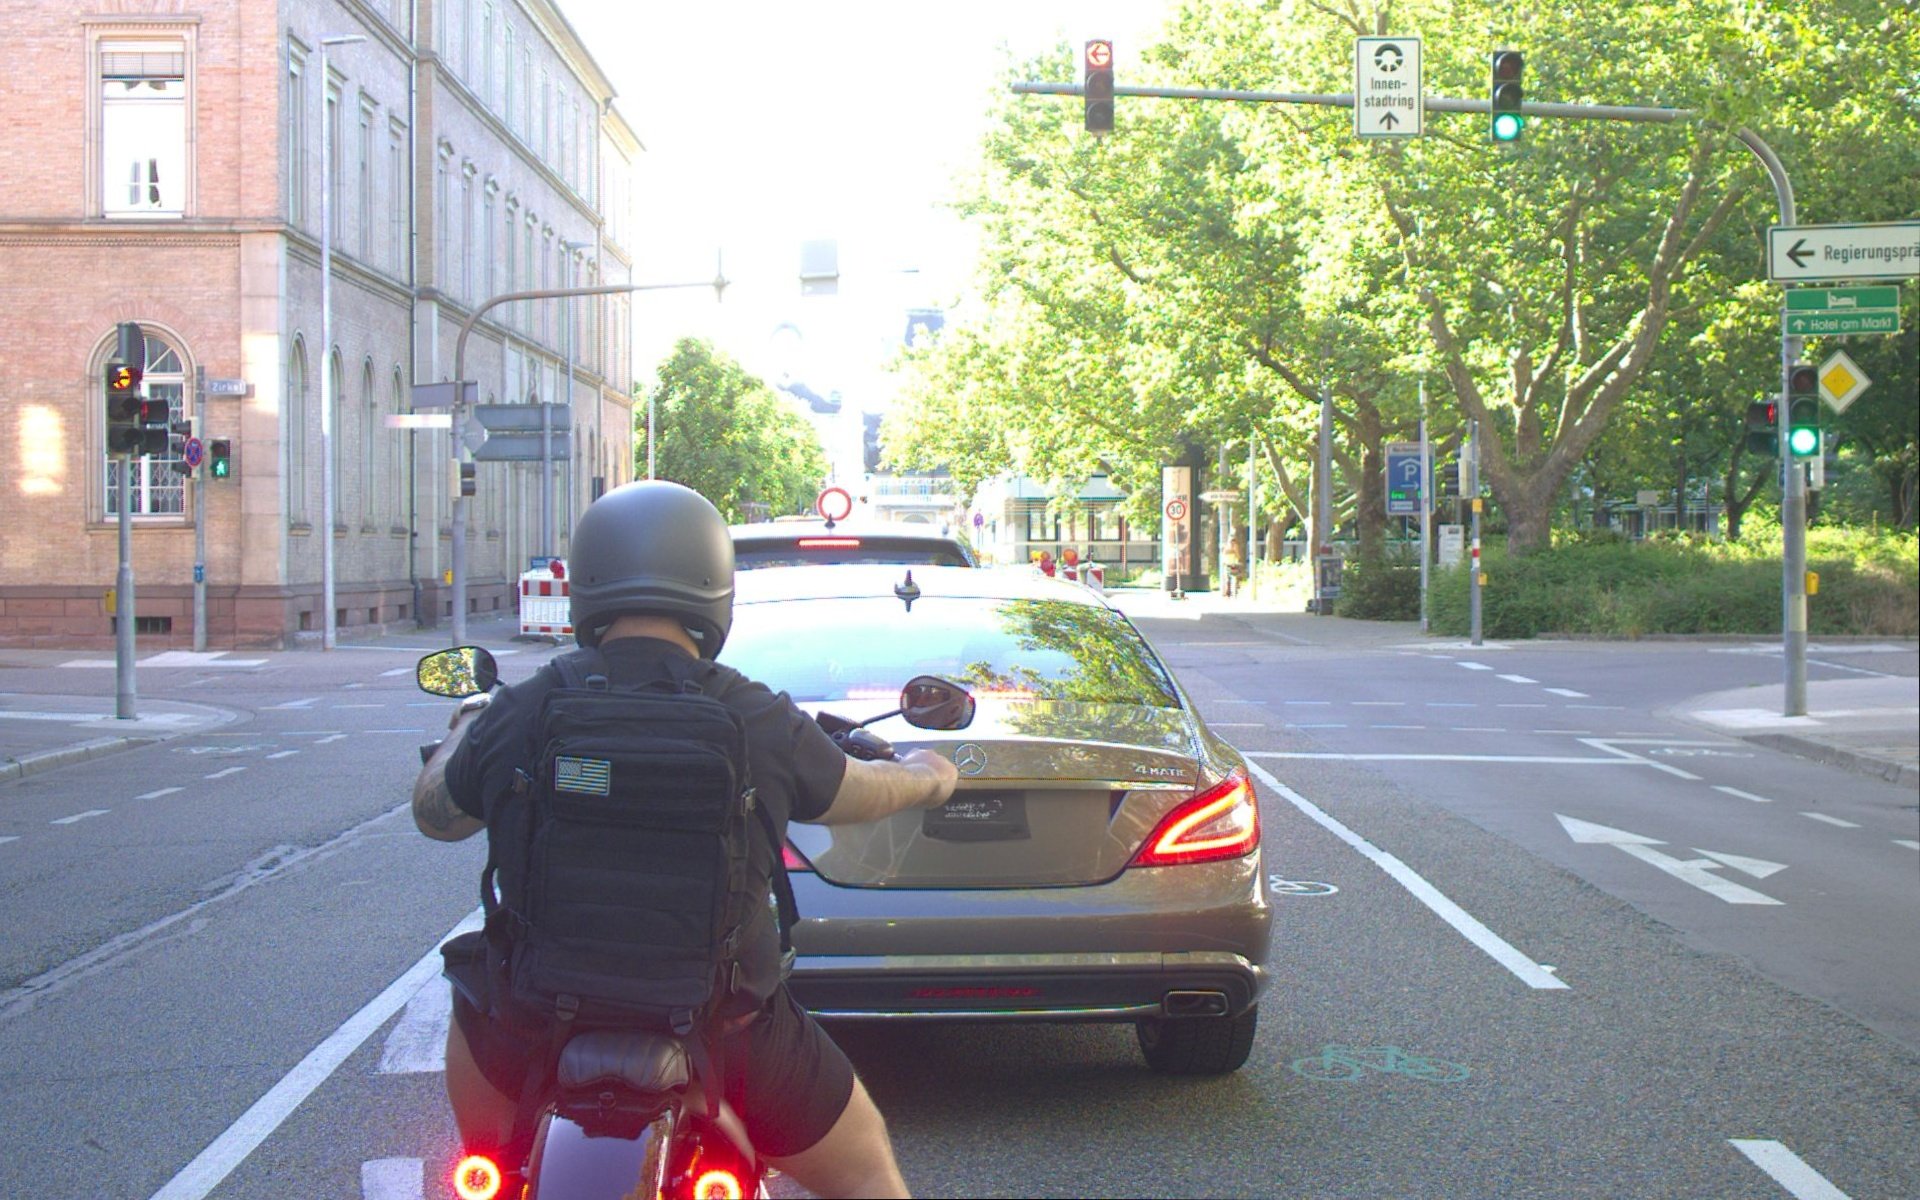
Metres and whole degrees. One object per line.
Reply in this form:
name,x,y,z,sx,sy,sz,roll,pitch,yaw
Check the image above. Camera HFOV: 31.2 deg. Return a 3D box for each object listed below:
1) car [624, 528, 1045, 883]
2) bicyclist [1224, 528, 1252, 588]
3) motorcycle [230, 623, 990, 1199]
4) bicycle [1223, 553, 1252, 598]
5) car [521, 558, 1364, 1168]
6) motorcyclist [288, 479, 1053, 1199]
car,-0.646,0.419,16.787,1.813,1.530,3.849,0,1,-3
bicyclist,7.350,-1.101,90.981,0.716,1.577,0.936,1,0,4
motorcycle,-0.465,0.740,5.556,0.962,1.352,2.320,1,1,-1
bicycle,7.342,-0.655,90.999,0.716,1.168,2.176,1,1,3
car,-0.293,0.605,10.525,1.901,1.436,4.290,0,1,-10
motorcyclist,-0.415,0.621,5.284,1.061,1.577,0.908,1,0,-1
